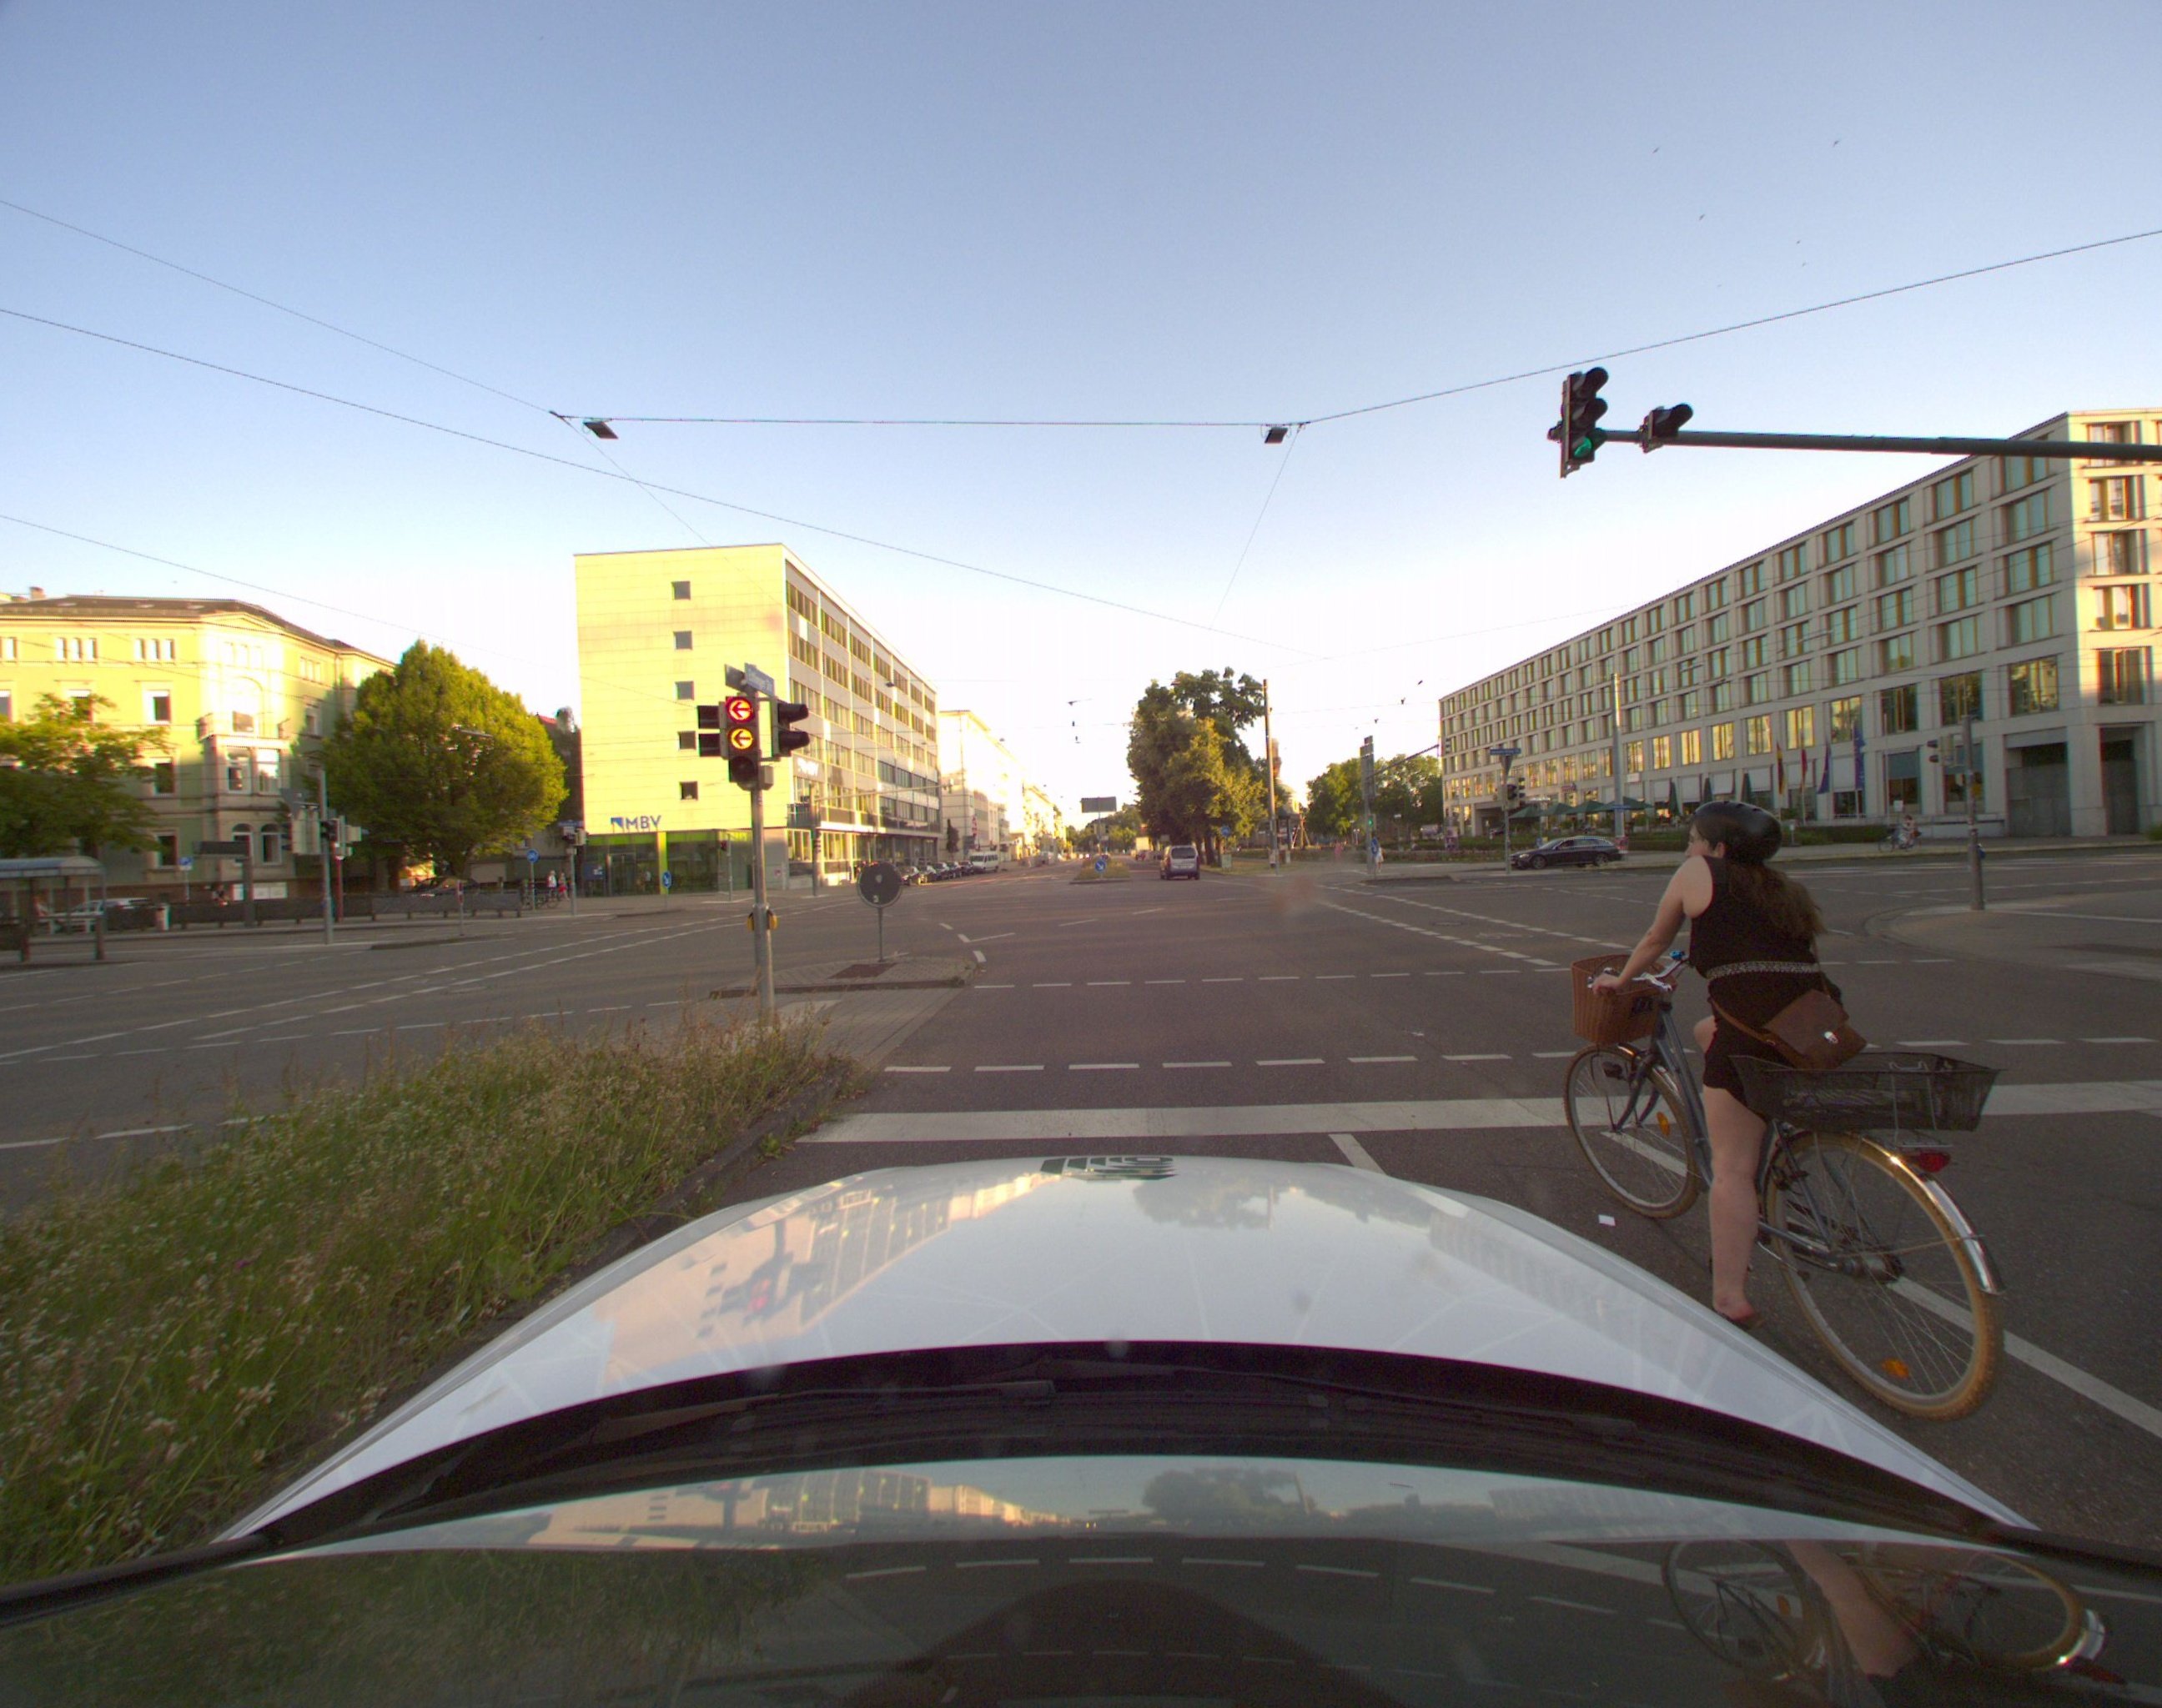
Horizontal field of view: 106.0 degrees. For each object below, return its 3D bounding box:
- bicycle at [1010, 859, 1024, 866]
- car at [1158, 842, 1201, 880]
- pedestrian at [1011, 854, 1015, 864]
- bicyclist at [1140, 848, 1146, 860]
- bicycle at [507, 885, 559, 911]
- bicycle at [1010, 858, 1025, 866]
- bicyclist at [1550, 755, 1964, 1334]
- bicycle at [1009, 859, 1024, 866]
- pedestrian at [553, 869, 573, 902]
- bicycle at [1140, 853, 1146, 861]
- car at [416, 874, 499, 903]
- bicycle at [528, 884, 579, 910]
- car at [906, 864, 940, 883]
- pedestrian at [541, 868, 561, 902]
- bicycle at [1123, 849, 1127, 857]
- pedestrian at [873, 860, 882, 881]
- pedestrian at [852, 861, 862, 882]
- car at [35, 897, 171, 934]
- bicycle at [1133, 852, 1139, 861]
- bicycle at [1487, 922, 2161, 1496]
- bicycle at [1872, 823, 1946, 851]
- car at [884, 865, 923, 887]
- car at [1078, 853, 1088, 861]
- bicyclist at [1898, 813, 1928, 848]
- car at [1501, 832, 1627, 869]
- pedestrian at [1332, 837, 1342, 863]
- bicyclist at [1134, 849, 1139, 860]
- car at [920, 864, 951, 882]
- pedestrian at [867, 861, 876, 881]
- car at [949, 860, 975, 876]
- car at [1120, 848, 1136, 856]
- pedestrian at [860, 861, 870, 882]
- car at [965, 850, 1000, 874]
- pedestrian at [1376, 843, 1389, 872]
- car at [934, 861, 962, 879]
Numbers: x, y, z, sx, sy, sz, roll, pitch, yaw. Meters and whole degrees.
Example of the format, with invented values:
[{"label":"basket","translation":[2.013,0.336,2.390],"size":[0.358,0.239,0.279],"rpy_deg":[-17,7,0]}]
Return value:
[{"label":"bicycle","translation":[-10.013,1.331,127.352],"size":[2.198,1.112,0.689],"rpy_deg":[-3,0,0]},{"label":"car","translation":[5.346,0.366,44.604],"size":[1.757,1.888,4.500],"rpy_deg":[-3,0,0]},{"label":"pedestrian","translation":[-13.816,0.948,165.377],"size":[0.677,2.013,0.545],"rpy_deg":[-3,0,1]},{"label":"bicyclist","translation":[9.162,-0.010,120.140],"size":[0.744,1.691,0.799],"rpy_deg":[-3,0,1]},{"label":"bicycle","translation":[-26.734,2.135,39.797],"size":[0.832,1.112,2.216],"rpy_deg":[-3,0,6]},{"label":"bicycle","translation":[-10.046,1.293,129.335],"size":[2.198,1.236,0.839],"rpy_deg":[-3,0,0]},{"label":"bicyclist","translation":[2.204,0.540,2.812],"size":[0.597,1.636,0.999],"rpy_deg":[-1,0,2]},{"label":"bicycle","translation":[-10.019,1.306,125.752],"size":[2.198,1.112,0.619],"rpy_deg":[-3,0,0]},{"label":"pedestrian","translation":[-28.899,1.747,45.467],"size":[0.641,1.790,0.720],"rpy_deg":[-3,0,-12]},{"label":"bicycle","translation":[9.188,0.491,120.125],"size":[0.744,1.144,2.506],"rpy_deg":[-3,0,2]},{"label":"car","translation":[-35.193,1.910,46.103],"size":[1.830,1.372,3.594],"rpy_deg":[-3,0,0]},{"label":"bicycle","translation":[-25.790,2.081,39.853],"size":[0.832,1.112,2.216],"rpy_deg":[-3,0,6]},{"label":"car","translation":[-13.318,1.637,68.913],"size":[1.913,1.464,4.002],"rpy_deg":[-3,0,2]},{"label":"pedestrian","translation":[-28.963,1.683,44.543],"size":[0.641,1.790,0.720],"rpy_deg":[-3,0,-12]},{"label":"bicycle","translation":[11.402,-0.229,211.454],"size":[0.892,2.013,4.002],"rpy_deg":[-3,0,2]},{"label":"pedestrian","translation":[-16.779,1.387,67.084],"size":[0.549,1.679,0.500],"rpy_deg":[-3,0,1]},{"label":"pedestrian","translation":[-18.416,1.455,66.955],"size":[0.549,1.679,0.500],"rpy_deg":[-3,0,1]},{"label":"car","translation":[-45.155,2.828,37.695],"size":[3.588,1.372,1.833],"rpy_deg":[-3,0,-15]},{"label":"bicycle","translation":[8.178,0.361,120.187],"size":[0.744,1.144,2.506],"rpy_deg":[-3,0,2]},{"label":"bicycle","translation":[2.207,0.892,2.856],"size":[0.609,1.132,2.005],"rpy_deg":[-1,0,2]},{"label":"bicycle","translation":[37.783,-0.767,37.165],"size":[2.762,1.106,0.602],"rpy_deg":[-3,0,-1]},{"label":"car","translation":[-13.514,1.650,62.382],"size":[1.913,1.464,4.105],"rpy_deg":[-3,0,2]},{"label":"car","translation":[0.374,0.514,167.191],"size":[1.856,1.519,4.001],"rpy_deg":[-3,0,1]},{"label":"bicyclist","translation":[37.977,-1.074,37.188],"size":[0.705,1.537,0.577],"rpy_deg":[-3,0,-1]},{"label":"car","translation":[23.184,-0.183,39.215],"size":[4.803,1.515,2.002],"rpy_deg":[-3,0,4]},{"label":"pedestrian","translation":[17.235,-0.268,54.803],"size":[0.458,1.656,0.567],"rpy_deg":[-3,0,1]},{"label":"bicyclist","translation":[8.149,0.086,119.792],"size":[0.744,1.663,0.873],"rpy_deg":[-3,0,1]},{"label":"car","translation":[-13.110,1.674,73.726],"size":[1.913,1.464,4.002],"rpy_deg":[-3,0,2]},{"label":"pedestrian","translation":[-17.384,1.393,67.596],"size":[0.498,1.679,0.500],"rpy_deg":[-3,0,1]},{"label":"car","translation":[-12.391,1.436,85.251],"size":[1.913,1.568,4.002],"rpy_deg":[-3,0,2]},{"label":"car","translation":[12.367,-0.593,212.930],"size":[3.977,2.013,1.998],"rpy_deg":[-3,0,-3]},{"label":"pedestrian","translation":[-17.965,1.458,67.711],"size":[0.549,1.679,0.500],"rpy_deg":[-3,0,1]},{"label":"car","translation":[-11.065,0.856,91.685],"size":[1.988,2.478,5.888],"rpy_deg":[-3,0,12]},{"label":"pedestrian","translation":[15.911,0.181,42.985],"size":[0.489,1.540,0.408],"rpy_deg":[-3,0,1]},{"label":"car","translation":[-12.858,1.564,79.028],"size":[1.913,1.568,4.002],"rpy_deg":[-3,0,2]}]
